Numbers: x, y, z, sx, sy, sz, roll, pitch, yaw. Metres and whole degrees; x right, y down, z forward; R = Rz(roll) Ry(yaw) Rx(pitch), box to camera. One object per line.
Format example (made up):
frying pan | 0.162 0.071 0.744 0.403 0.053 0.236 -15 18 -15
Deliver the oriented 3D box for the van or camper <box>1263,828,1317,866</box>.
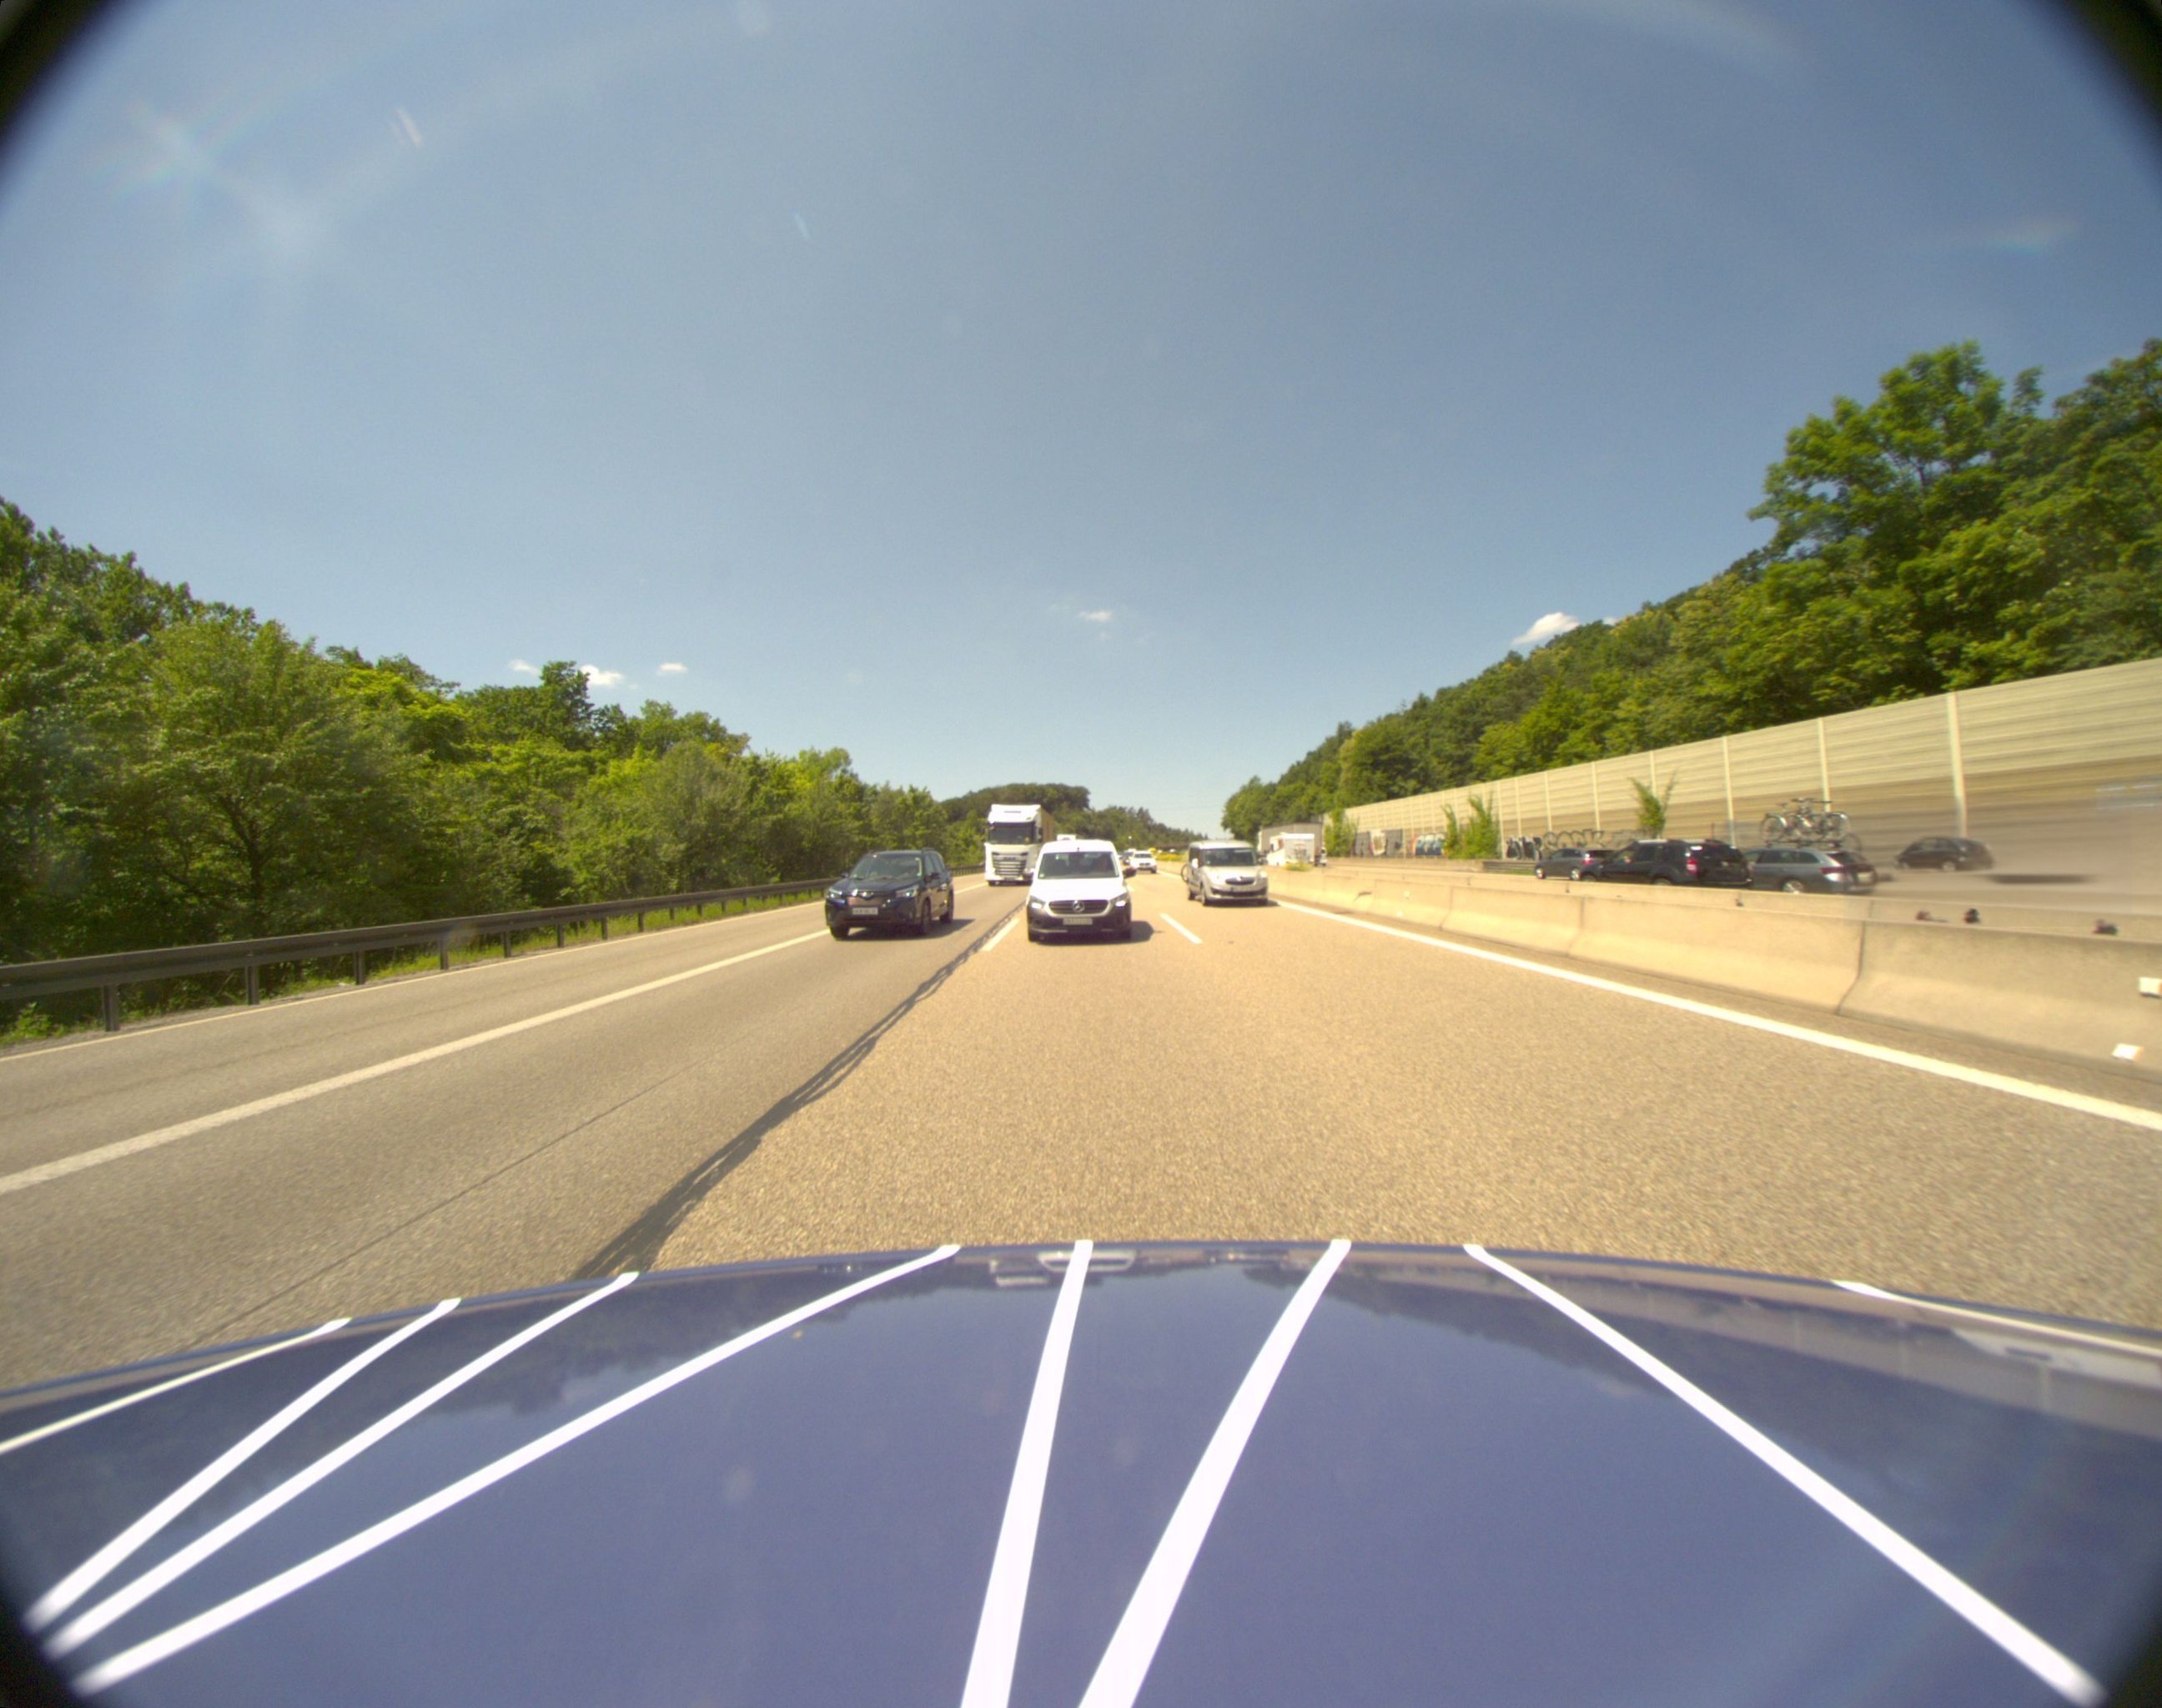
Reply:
van or camper | 15.681 -0.550 57.449 2.275 2.720 6.804 -1 1 0

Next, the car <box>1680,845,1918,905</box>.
car | 18.432 0.479 19.895 1.805 1.339 4.723 -1 0 1

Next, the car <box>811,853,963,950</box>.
car | -3.810 0.853 15.752 1.815 1.658 4.204 -1 1 4

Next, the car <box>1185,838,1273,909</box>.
car | 4.130 0.506 21.839 1.780 1.833 4.000 -1 0 1

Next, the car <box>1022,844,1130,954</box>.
car | 0.046 0.700 14.497 1.729 1.760 4.313 -1 1 4

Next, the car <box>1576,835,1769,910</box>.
car | 14.874 0.403 19.446 1.697 1.673 4.195 -1 0 1

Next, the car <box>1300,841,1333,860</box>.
car | 24.052 -0.346 77.827 1.814 1.800 5.106 -1 1 1

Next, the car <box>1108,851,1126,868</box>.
car | 4.386 0.675 92.149 1.998 2.002 4.000 -1 0 1

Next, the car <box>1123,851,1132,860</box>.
car | 10.466 0.303 172.213 1.998 2.002 4.000 -1 0 3

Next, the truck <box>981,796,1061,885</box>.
truck | -3.085 -0.698 44.338 2.789 4.145 16.268 -1 0 2

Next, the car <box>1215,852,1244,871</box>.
car | 12.835 0.652 65.897 1.715 1.529 4.128 -1 0 0

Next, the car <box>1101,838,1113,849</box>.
car | 6.193 -2.551 181.305 2.721 2.534 5.941 -1 1 3

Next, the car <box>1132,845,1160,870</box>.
car | 4.823 0.226 56.842 1.998 1.827 4.000 -1 1 3

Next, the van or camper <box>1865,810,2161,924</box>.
van or camper | 18.465 0.212 15.021 2.081 1.965 3.704 -1 0 -1

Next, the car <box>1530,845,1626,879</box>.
car | 22.730 0.322 34.960 1.581 1.453 4.388 -1 0 1

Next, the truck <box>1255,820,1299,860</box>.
truck | 20.191 -1.409 78.609 2.819 3.886 7.315 -1 1 2

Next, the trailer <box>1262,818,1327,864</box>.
trailer | 20.044 -1.235 72.410 2.819 3.886 13.826 -1 1 2

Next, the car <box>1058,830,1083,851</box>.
car | -1.259 -1.711 96.491 2.721 2.534 5.941 -1 1 3

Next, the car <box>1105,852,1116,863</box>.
car | 5.188 0.578 135.866 1.902 2.002 4.000 -1 0 2

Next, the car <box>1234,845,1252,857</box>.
car | 26.145 -0.541 122.838 1.926 1.856 5.303 -1 1 1

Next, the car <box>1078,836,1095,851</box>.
car | 0.986 -1.914 135.788 2.721 2.534 5.941 -1 1 3

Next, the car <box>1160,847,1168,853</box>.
car | 23.284 -1.105 212.959 1.751 1.568 4.714 -1 0 3
